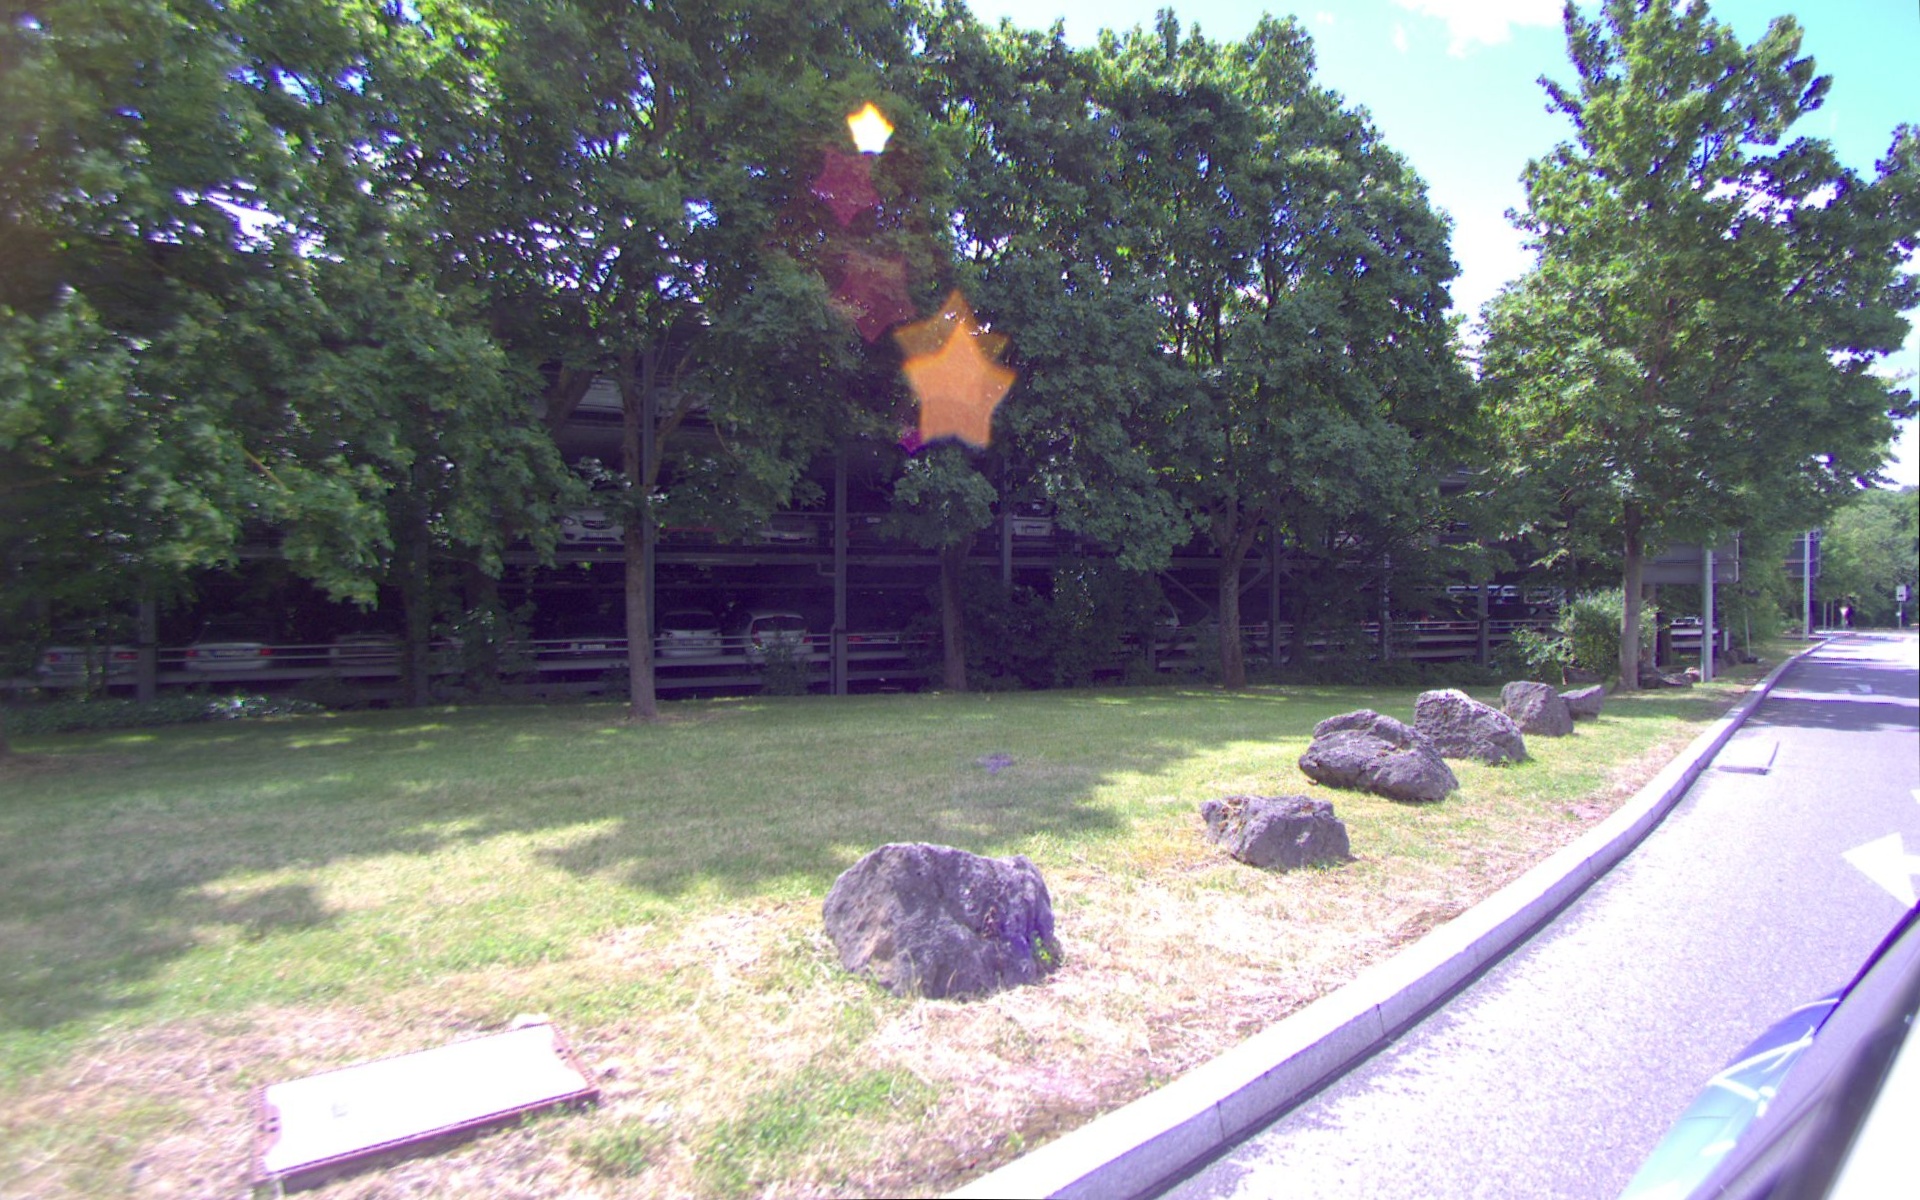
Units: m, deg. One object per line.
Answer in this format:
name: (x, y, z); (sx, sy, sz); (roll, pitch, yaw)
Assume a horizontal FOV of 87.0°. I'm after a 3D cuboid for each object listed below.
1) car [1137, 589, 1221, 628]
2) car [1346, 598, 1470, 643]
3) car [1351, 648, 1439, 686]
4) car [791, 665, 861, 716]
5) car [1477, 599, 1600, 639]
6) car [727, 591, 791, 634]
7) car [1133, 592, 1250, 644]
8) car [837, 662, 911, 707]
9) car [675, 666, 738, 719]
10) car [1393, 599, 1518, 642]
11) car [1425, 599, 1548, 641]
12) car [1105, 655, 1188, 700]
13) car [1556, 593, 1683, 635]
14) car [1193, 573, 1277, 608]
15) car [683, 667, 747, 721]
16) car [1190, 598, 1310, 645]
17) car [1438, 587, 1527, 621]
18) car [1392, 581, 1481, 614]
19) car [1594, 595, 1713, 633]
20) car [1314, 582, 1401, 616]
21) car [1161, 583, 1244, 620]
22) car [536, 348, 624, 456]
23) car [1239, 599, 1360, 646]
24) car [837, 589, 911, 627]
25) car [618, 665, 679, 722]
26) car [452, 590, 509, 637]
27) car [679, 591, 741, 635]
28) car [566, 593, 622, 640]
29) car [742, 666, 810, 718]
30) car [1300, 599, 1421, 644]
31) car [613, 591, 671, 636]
car: (9.548, 0.335, 44.456); (1.660, 1.504, 3.866); (0, 2, -23)
car: (15.612, 0.673, 35.444); (1.660, 1.410, 3.865); (0, 1, -23)
car: (21.592, 3.296, 50.409); (1.717, 1.484, 3.866); (0, 2, -23)
car: (-5.045, 3.332, 37.816); (1.605, 1.388, 3.792); (0, 2, -23)
car: (22.033, 0.681, 38.678); (1.660, 1.410, 3.865); (0, 1, -23)
car: (-7.583, 0.435, 37.931); (1.561, 1.388, 3.792); (0, 2, -23)
car: (7.243, 0.513, 32.040); (1.660, 1.508, 3.865); (0, 1, -23)
car: (-3.399, 3.249, 39.291); (1.740, 1.349, 3.805); (0, 1, -23)
car: (-9.112, 3.247, 36.214); (1.605, 1.388, 3.792); (0, 2, -23)
car: (17.680, 0.701, 36.264); (1.660, 1.410, 3.865); (0, 1, -23)
car: (19.362, 0.698, 37.386); (1.660, 1.410, 3.865); (0, 1, -23)
car: (7.971, 3.307, 43.598); (1.660, 1.464, 3.866); (0, 2, -23)
car: (26.077, 0.507, 40.156); (1.798, 1.533, 3.865); (0, 1, -23)
car: (12.655, -0.464, 46.816); (1.660, 1.504, 3.866); (0, 2, -23)
car: (-8.814, 3.312, 36.169); (1.605, 1.388, 3.792); (0, 2, -23)
car: (9.311, 0.650, 32.807); (1.660, 1.410, 3.865); (0, 1, -23)
car: (27.457, 0.192, 53.301); (1.732, 1.570, 3.944); (0, 2, -22)
car: (23.846, -0.146, 50.783); (1.717, 1.460, 3.866); (0, 2, -23)
car: (27.975, 0.526, 40.944); (1.625, 1.429, 3.711); (0, 1, -23)
car: (19.301, -0.086, 49.279); (1.717, 1.504, 3.866); (0, 2, -23)
car: (10.998, 0.049, 46.063); (1.660, 1.504, 3.866); (0, 2, -23)
car: (-9.209, -4.678, 24.476); (1.829, 1.683, 4.006); (-1, -1, -21)
car: (11.233, 0.708, 33.694); (1.660, 1.410, 3.865); (0, 1, -23)
car: (-3.380, 0.284, 39.358); (1.740, 1.410, 3.805); (0, 1, -23)
car: (-10.879, 3.209, 35.213); (1.605, 1.464, 3.792); (0, 2, -23)
car: (-15.975, 0.408, 33.831); (1.561, 1.388, 3.792); (0, 2, -23)
car: (-9.122, 0.448, 36.753); (1.561, 1.388, 3.792); (0, 2, -23)
car: (-12.515, 0.519, 34.493); (1.561, 1.388, 3.792); (0, 2, -23)
car: (-6.809, 3.317, 37.174); (1.605, 1.388, 3.792); (0, 2, -23)
car: (13.746, 0.690, 34.970); (1.660, 1.410, 3.865); (0, 1, -23)
car: (-11.289, 0.435, 35.829); (1.561, 1.388, 3.792); (0, 2, -23)
